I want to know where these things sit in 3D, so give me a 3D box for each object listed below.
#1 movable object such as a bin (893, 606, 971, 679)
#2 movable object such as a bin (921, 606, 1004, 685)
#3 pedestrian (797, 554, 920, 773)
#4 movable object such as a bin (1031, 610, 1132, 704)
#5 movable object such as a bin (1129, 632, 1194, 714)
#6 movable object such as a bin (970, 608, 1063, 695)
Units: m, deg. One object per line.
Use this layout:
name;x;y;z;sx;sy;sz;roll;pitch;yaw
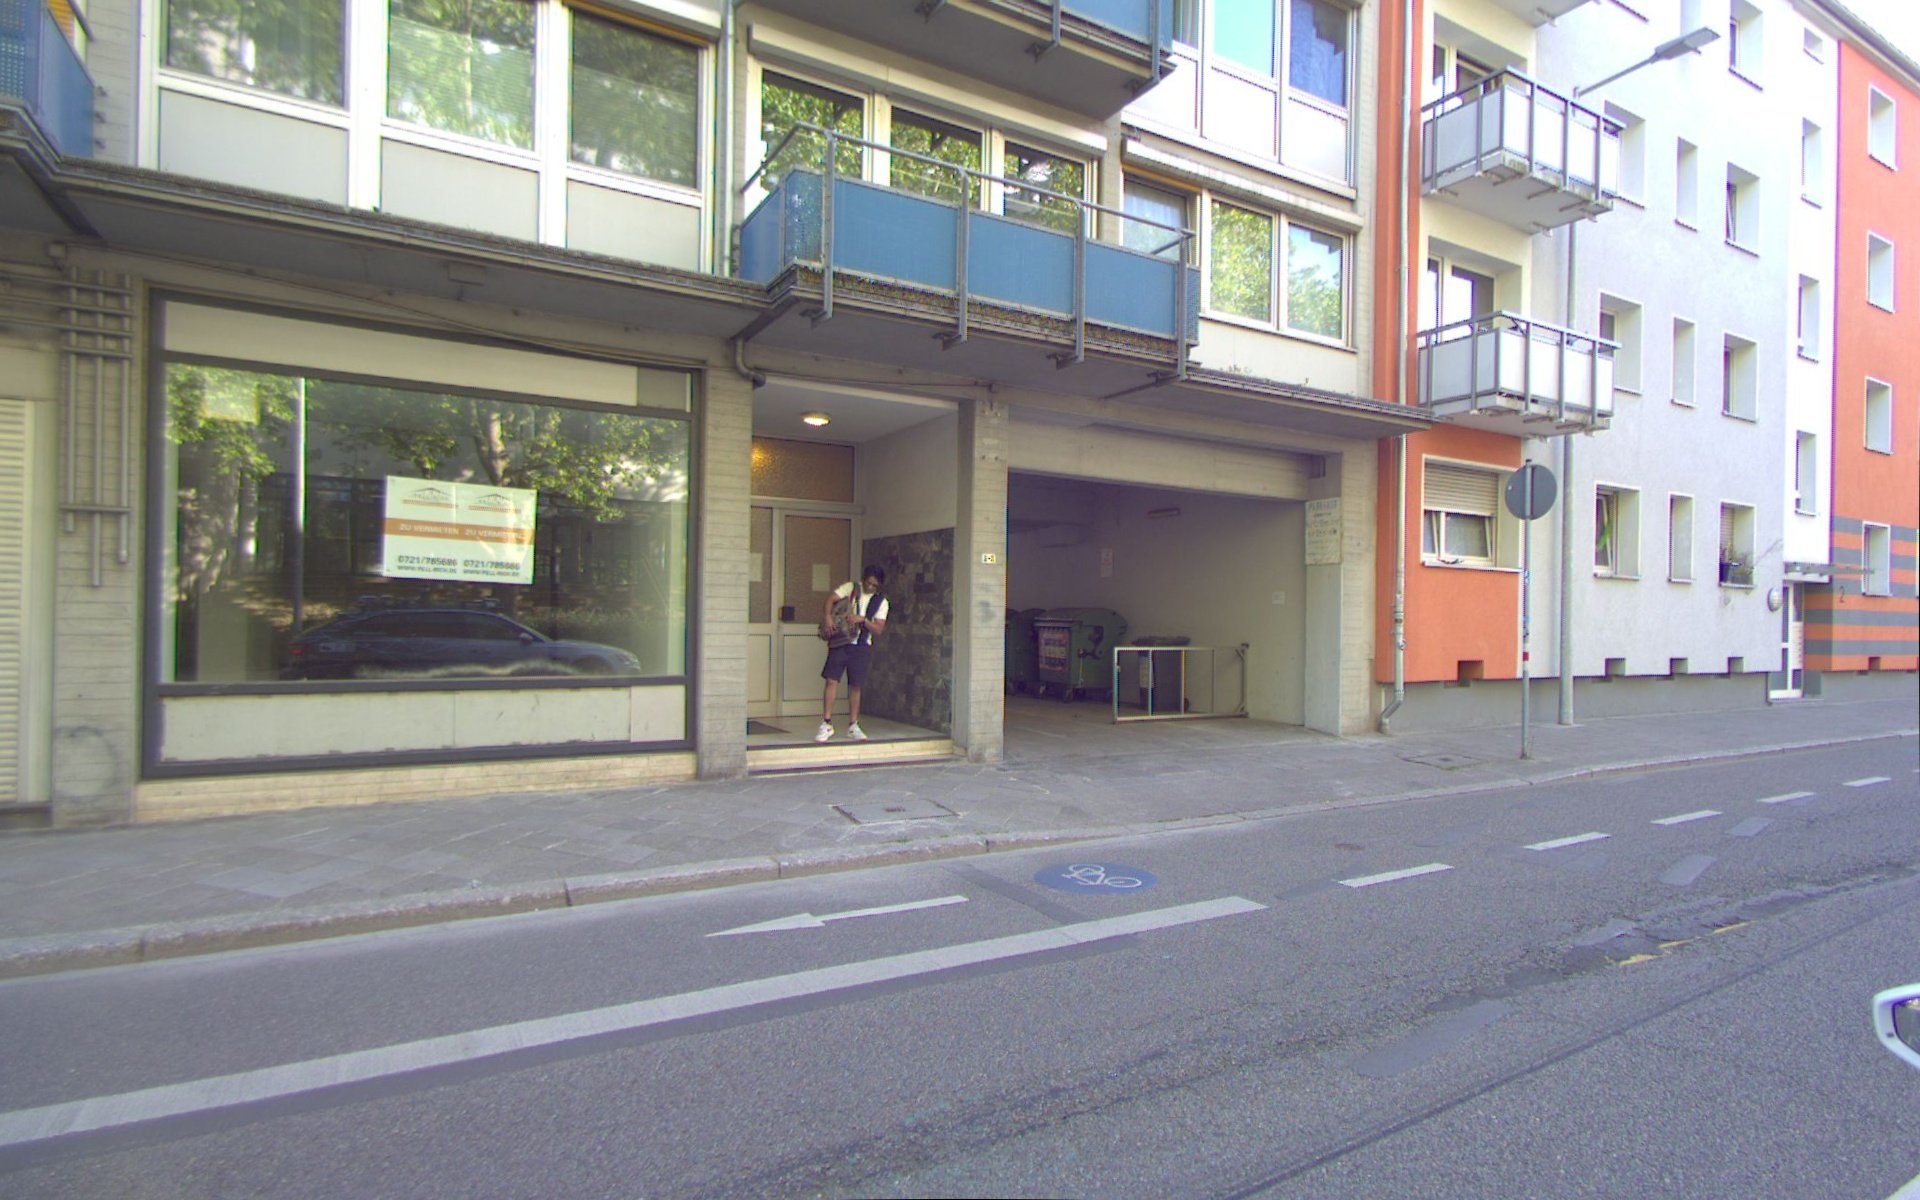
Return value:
movable object such as a bin;-0.567;0.824;19.861;1.066;1.384;1.255;2;0;-27
movable object such as a bin;0.042;0.836;18.691;1.066;1.384;1.255;2;0;-27
pedestrian;-0.943;0.561;9.251;0.882;1.902;0.703;2;0;-28
movable object such as a bin;1.894;0.877;15.808;1.066;1.384;1.192;2;0;-27
movable object such as a bin;2.895;1.035;14.457;0.650;1.115;0.626;2;0;-27
movable object such as a bin;0.953;0.855;17.122;1.066;1.384;1.255;2;0;-27
